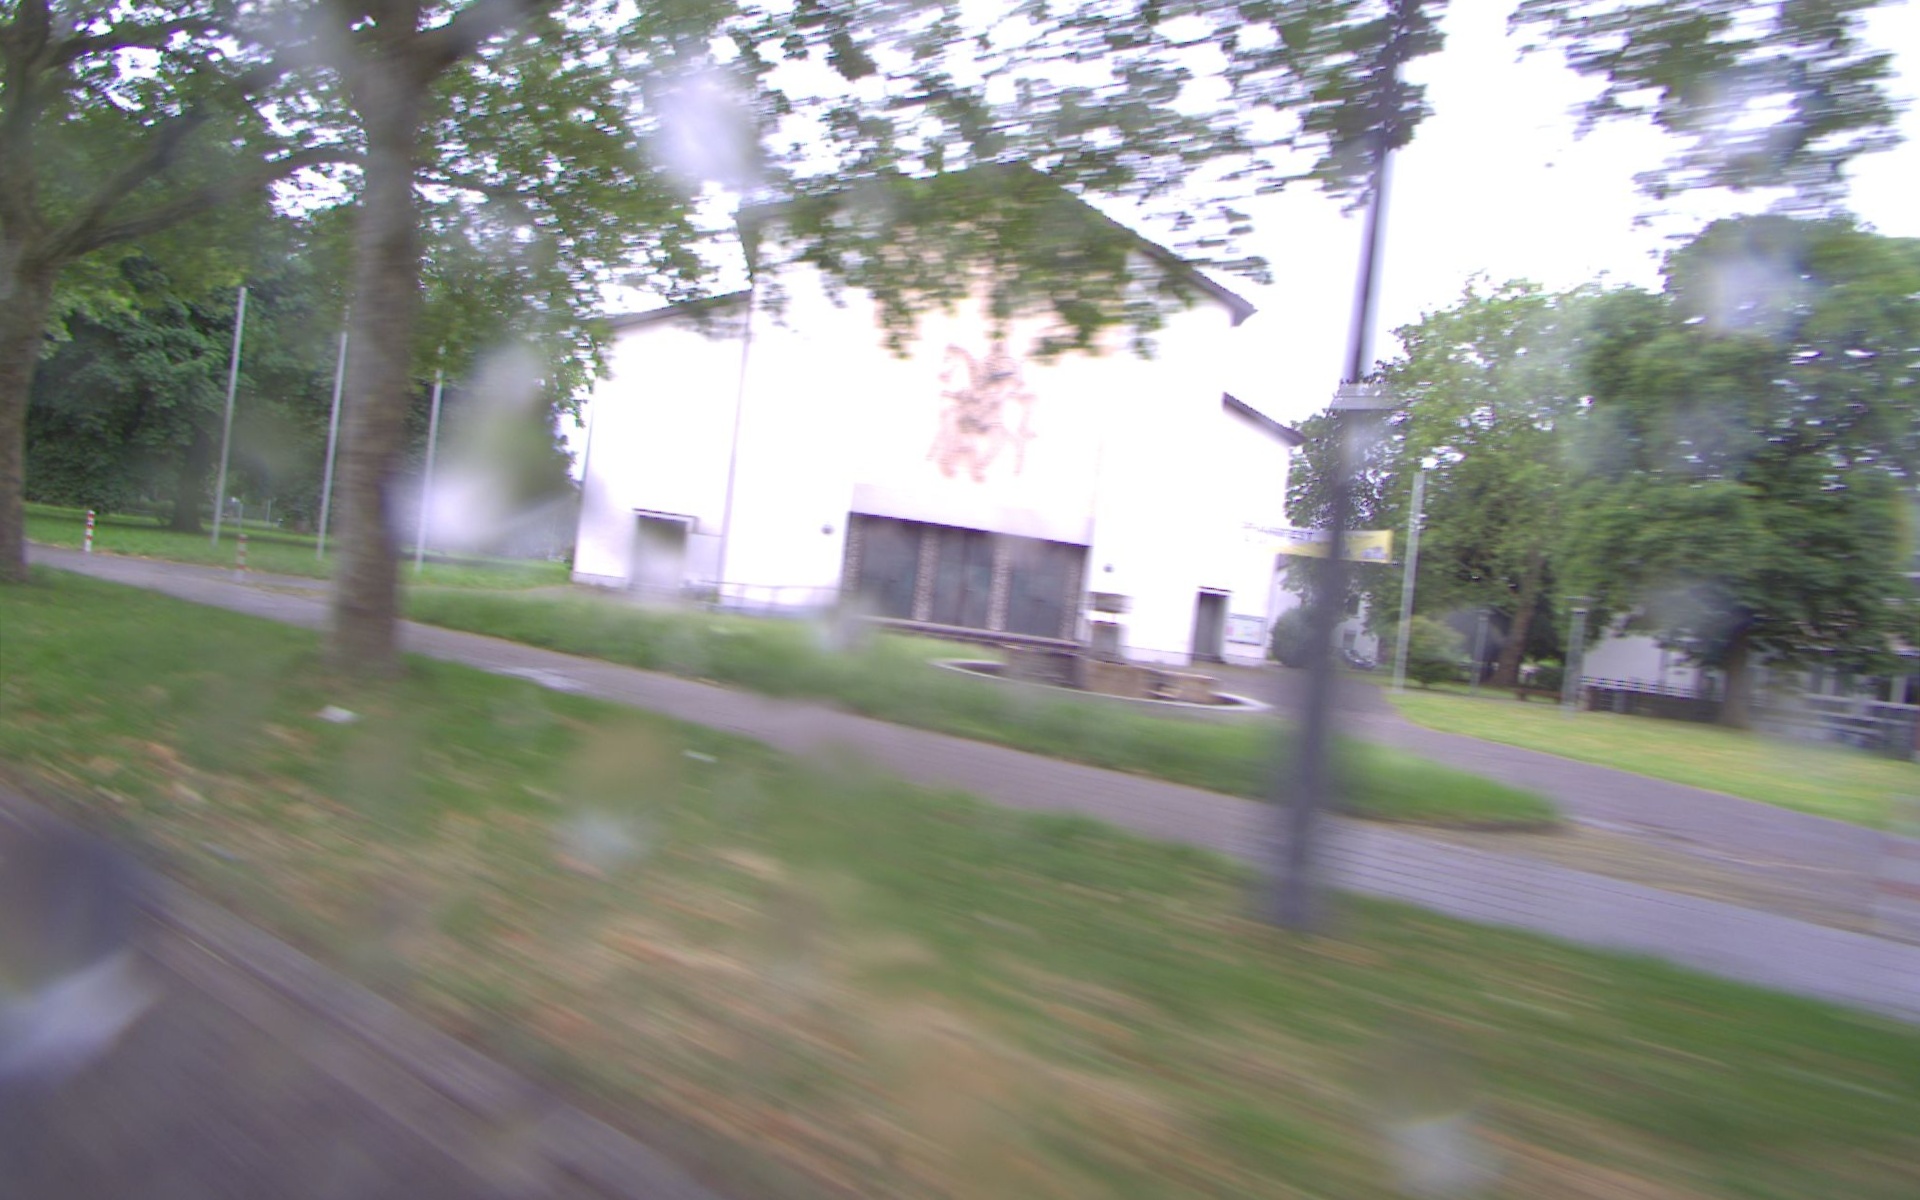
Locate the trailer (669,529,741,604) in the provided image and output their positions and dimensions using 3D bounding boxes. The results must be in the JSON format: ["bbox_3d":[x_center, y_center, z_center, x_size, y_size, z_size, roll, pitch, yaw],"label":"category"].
[{"bbox_3d":[-9.148,-1.178,36.412,1.859,2.338,4.013,7,1,-8],"label":"trailer"}]
